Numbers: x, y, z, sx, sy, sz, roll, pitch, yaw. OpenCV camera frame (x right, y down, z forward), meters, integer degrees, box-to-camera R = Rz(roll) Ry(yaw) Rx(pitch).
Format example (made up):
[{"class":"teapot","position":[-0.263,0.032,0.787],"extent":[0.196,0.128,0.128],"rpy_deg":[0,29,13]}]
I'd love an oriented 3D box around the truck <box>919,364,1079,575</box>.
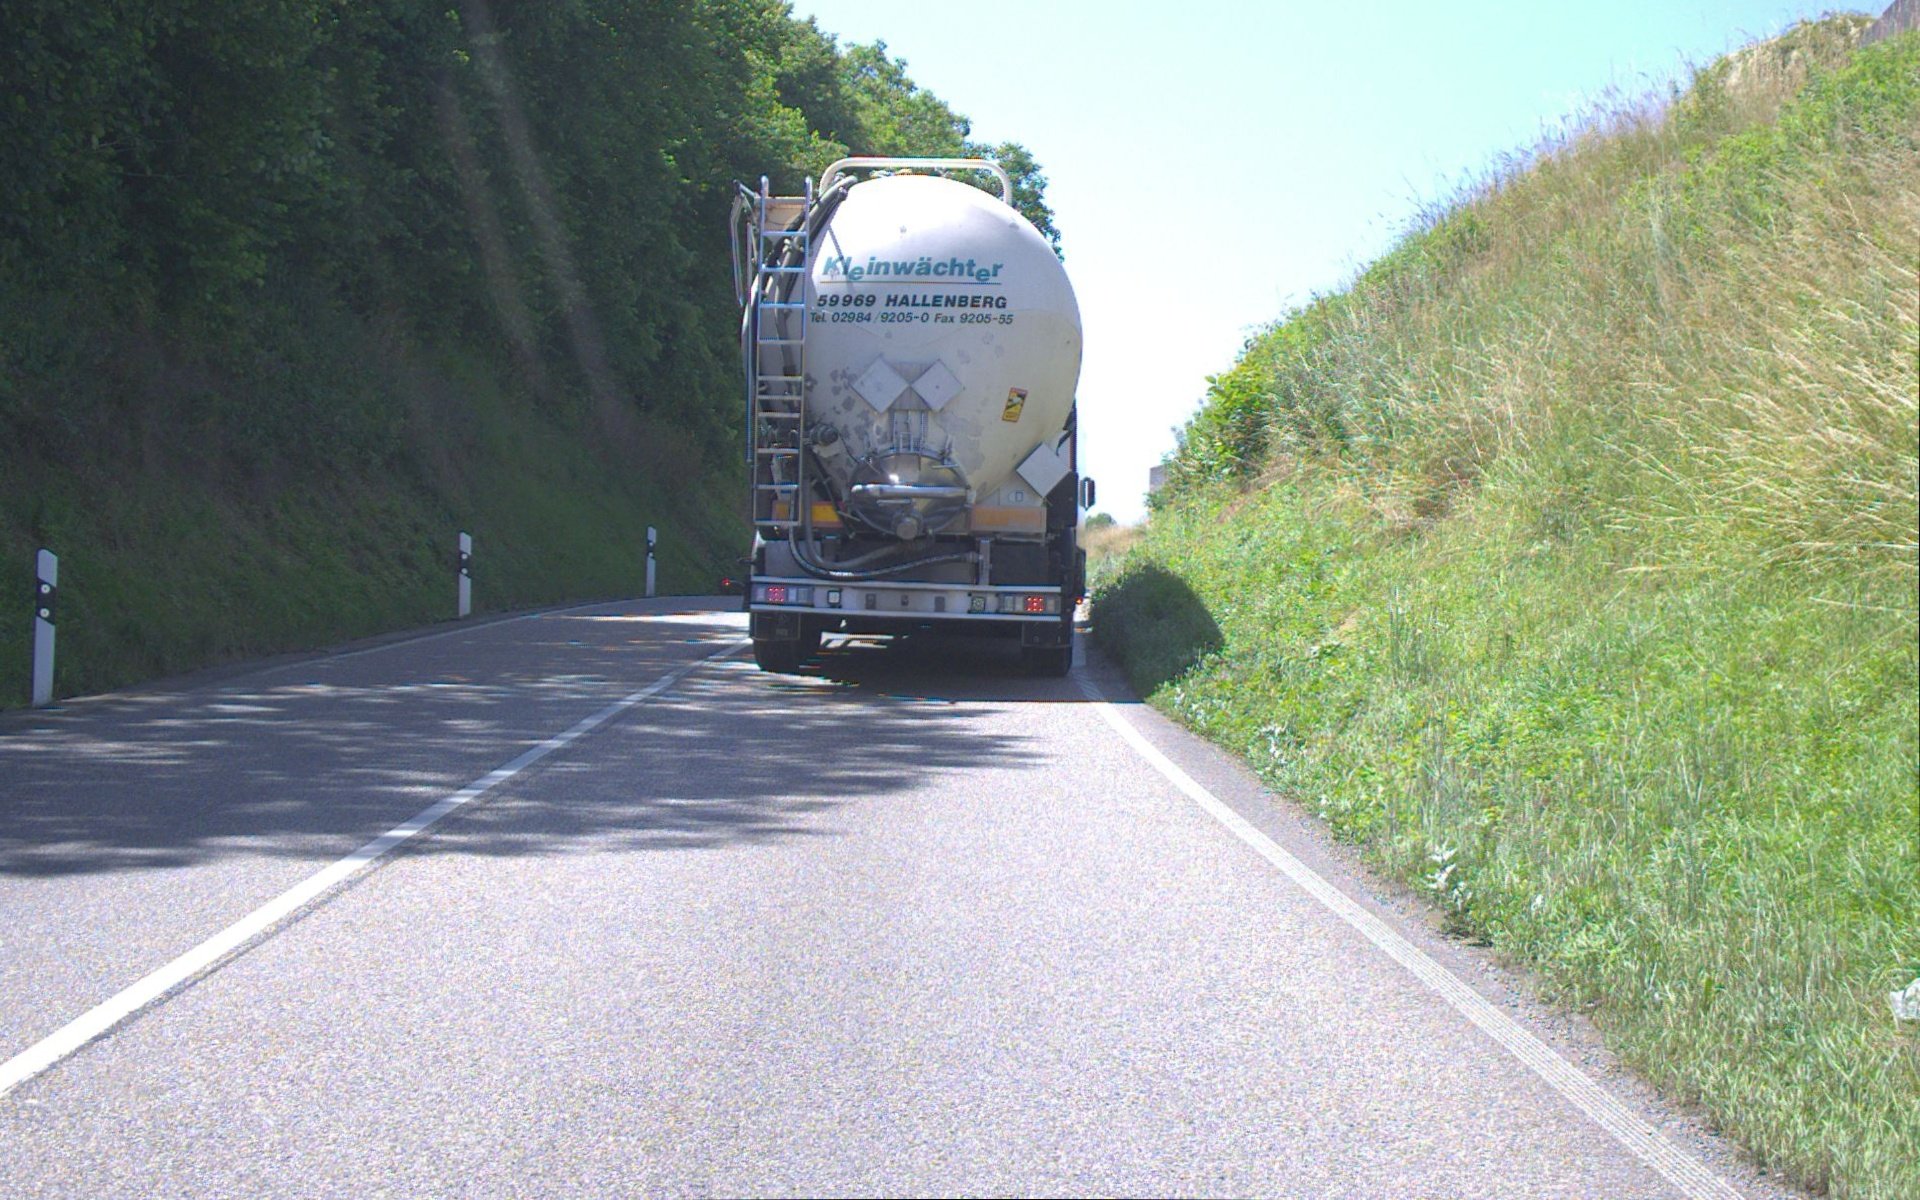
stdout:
[{"class":"truck","position":[0.986,-2.916,77.640],"extent":[3.190,4.294,11.800],"rpy_deg":[2,2,2]}]

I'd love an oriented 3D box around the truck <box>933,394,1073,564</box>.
[{"class":"truck","position":[1.091,-2.870,83.680],"extent":[3.190,3.920,8.251],"rpy_deg":[0,1,1]}]

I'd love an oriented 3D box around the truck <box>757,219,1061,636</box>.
[{"class":"truck","position":[-0.386,-1.785,36.411],"extent":[2.727,3.916,7.263],"rpy_deg":[1,2,3]}]

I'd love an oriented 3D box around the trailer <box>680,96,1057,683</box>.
[{"class":"trailer","position":[-0.560,-1.727,30.511],"extent":[2.661,4.174,11.905],"rpy_deg":[1,2,1]}]
